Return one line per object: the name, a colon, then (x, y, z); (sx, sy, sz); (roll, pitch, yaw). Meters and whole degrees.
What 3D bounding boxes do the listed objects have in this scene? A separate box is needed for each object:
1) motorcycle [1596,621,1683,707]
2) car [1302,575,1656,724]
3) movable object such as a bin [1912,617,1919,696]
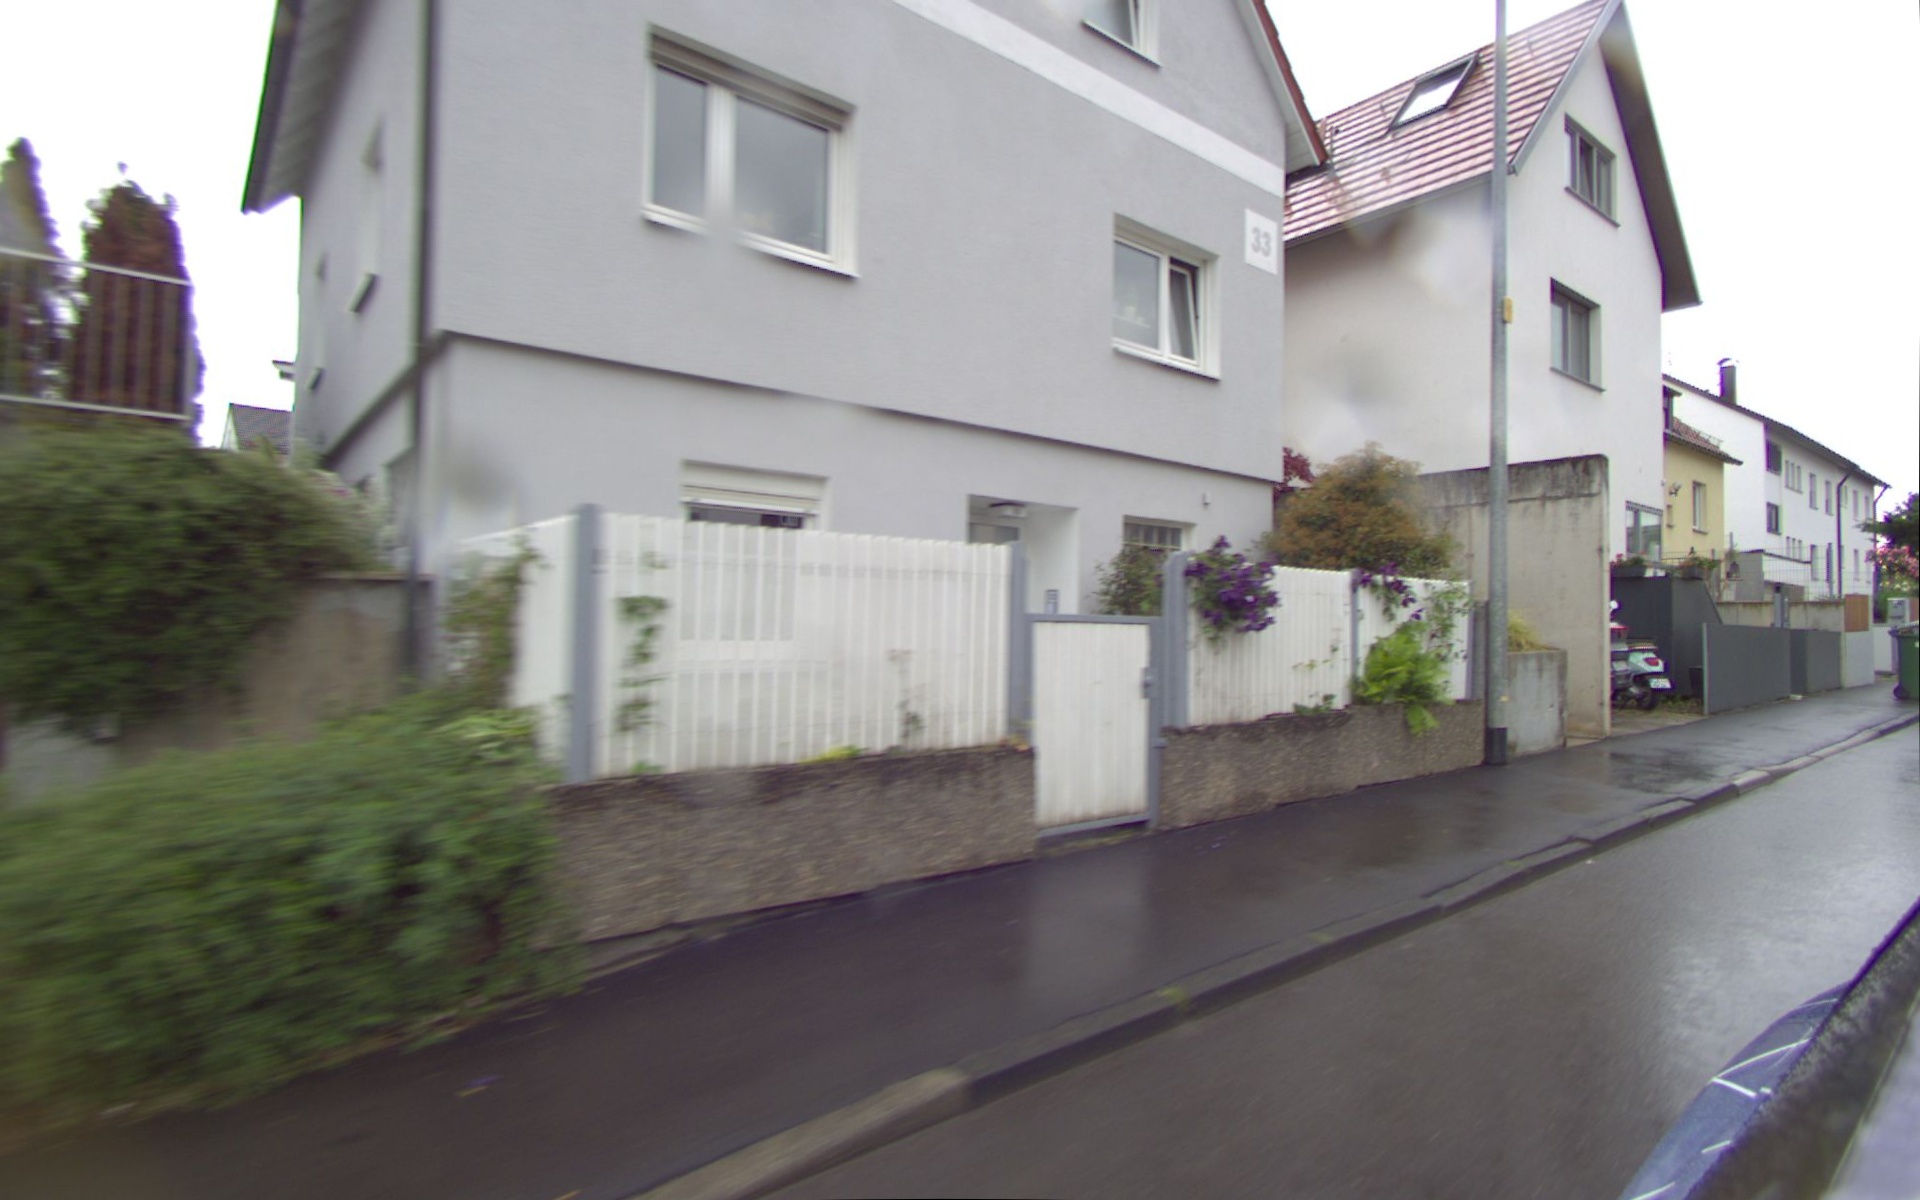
motorcycle: (8.921, 0.818, 13.319); (0.547, 1.025, 1.146); (1, 1, 12)
car: (6.453, 0.488, 12.848); (1.788, 1.602, 3.593); (-1, 1, -41)
movable object such as a bin: (14.939, 0.869, 15.423); (0.528, 1.201, 0.568); (1, 0, -40)
